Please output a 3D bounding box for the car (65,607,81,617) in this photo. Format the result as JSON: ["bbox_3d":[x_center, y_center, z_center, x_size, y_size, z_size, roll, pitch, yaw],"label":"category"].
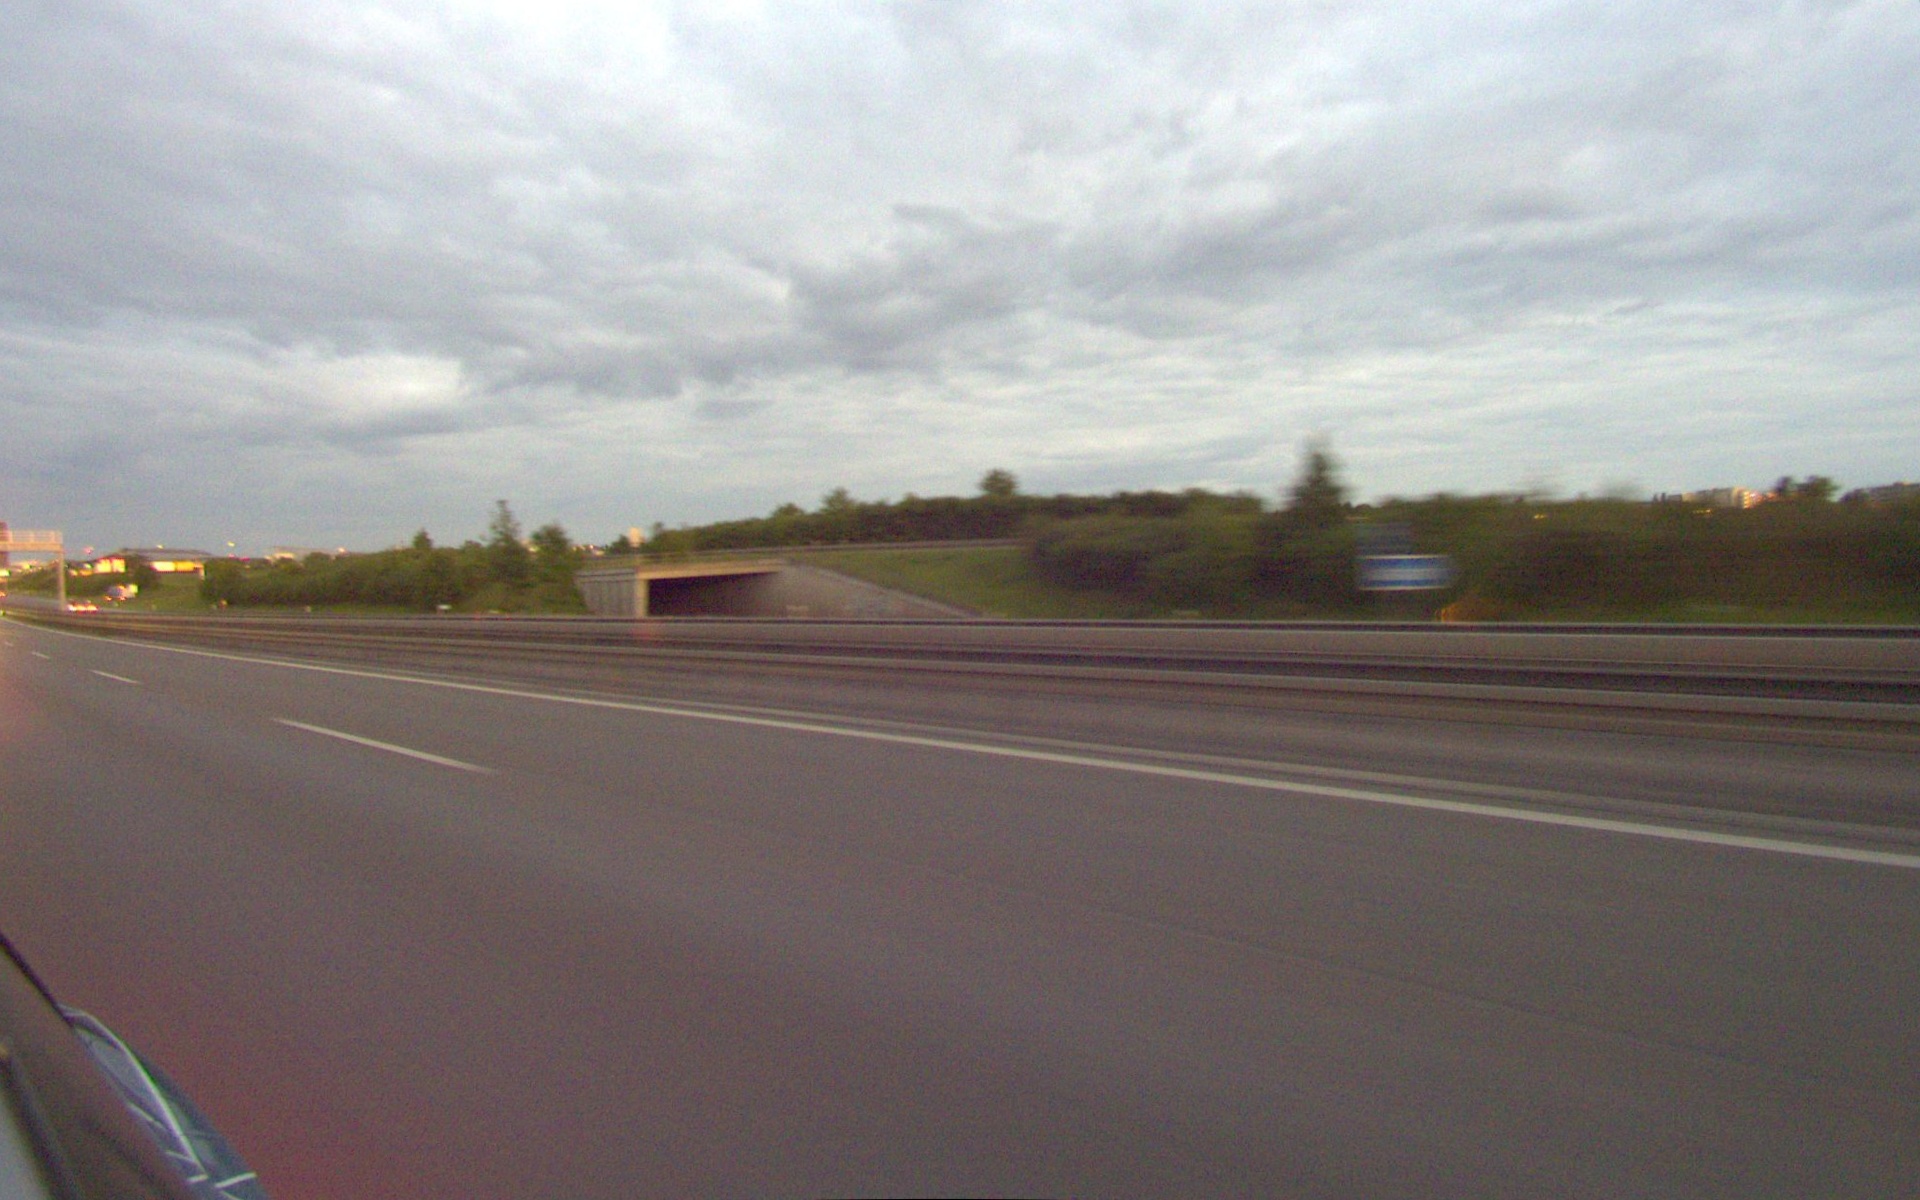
[{"bbox_3d":[-151.556,2.059,172.907,4.431,1.411,1.671,1,5,45],"label":"car"}]

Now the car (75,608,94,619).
[{"bbox_3d":[-129.720,1.938,149.933,4.431,1.411,1.671,1,5,45],"label":"car"}]
